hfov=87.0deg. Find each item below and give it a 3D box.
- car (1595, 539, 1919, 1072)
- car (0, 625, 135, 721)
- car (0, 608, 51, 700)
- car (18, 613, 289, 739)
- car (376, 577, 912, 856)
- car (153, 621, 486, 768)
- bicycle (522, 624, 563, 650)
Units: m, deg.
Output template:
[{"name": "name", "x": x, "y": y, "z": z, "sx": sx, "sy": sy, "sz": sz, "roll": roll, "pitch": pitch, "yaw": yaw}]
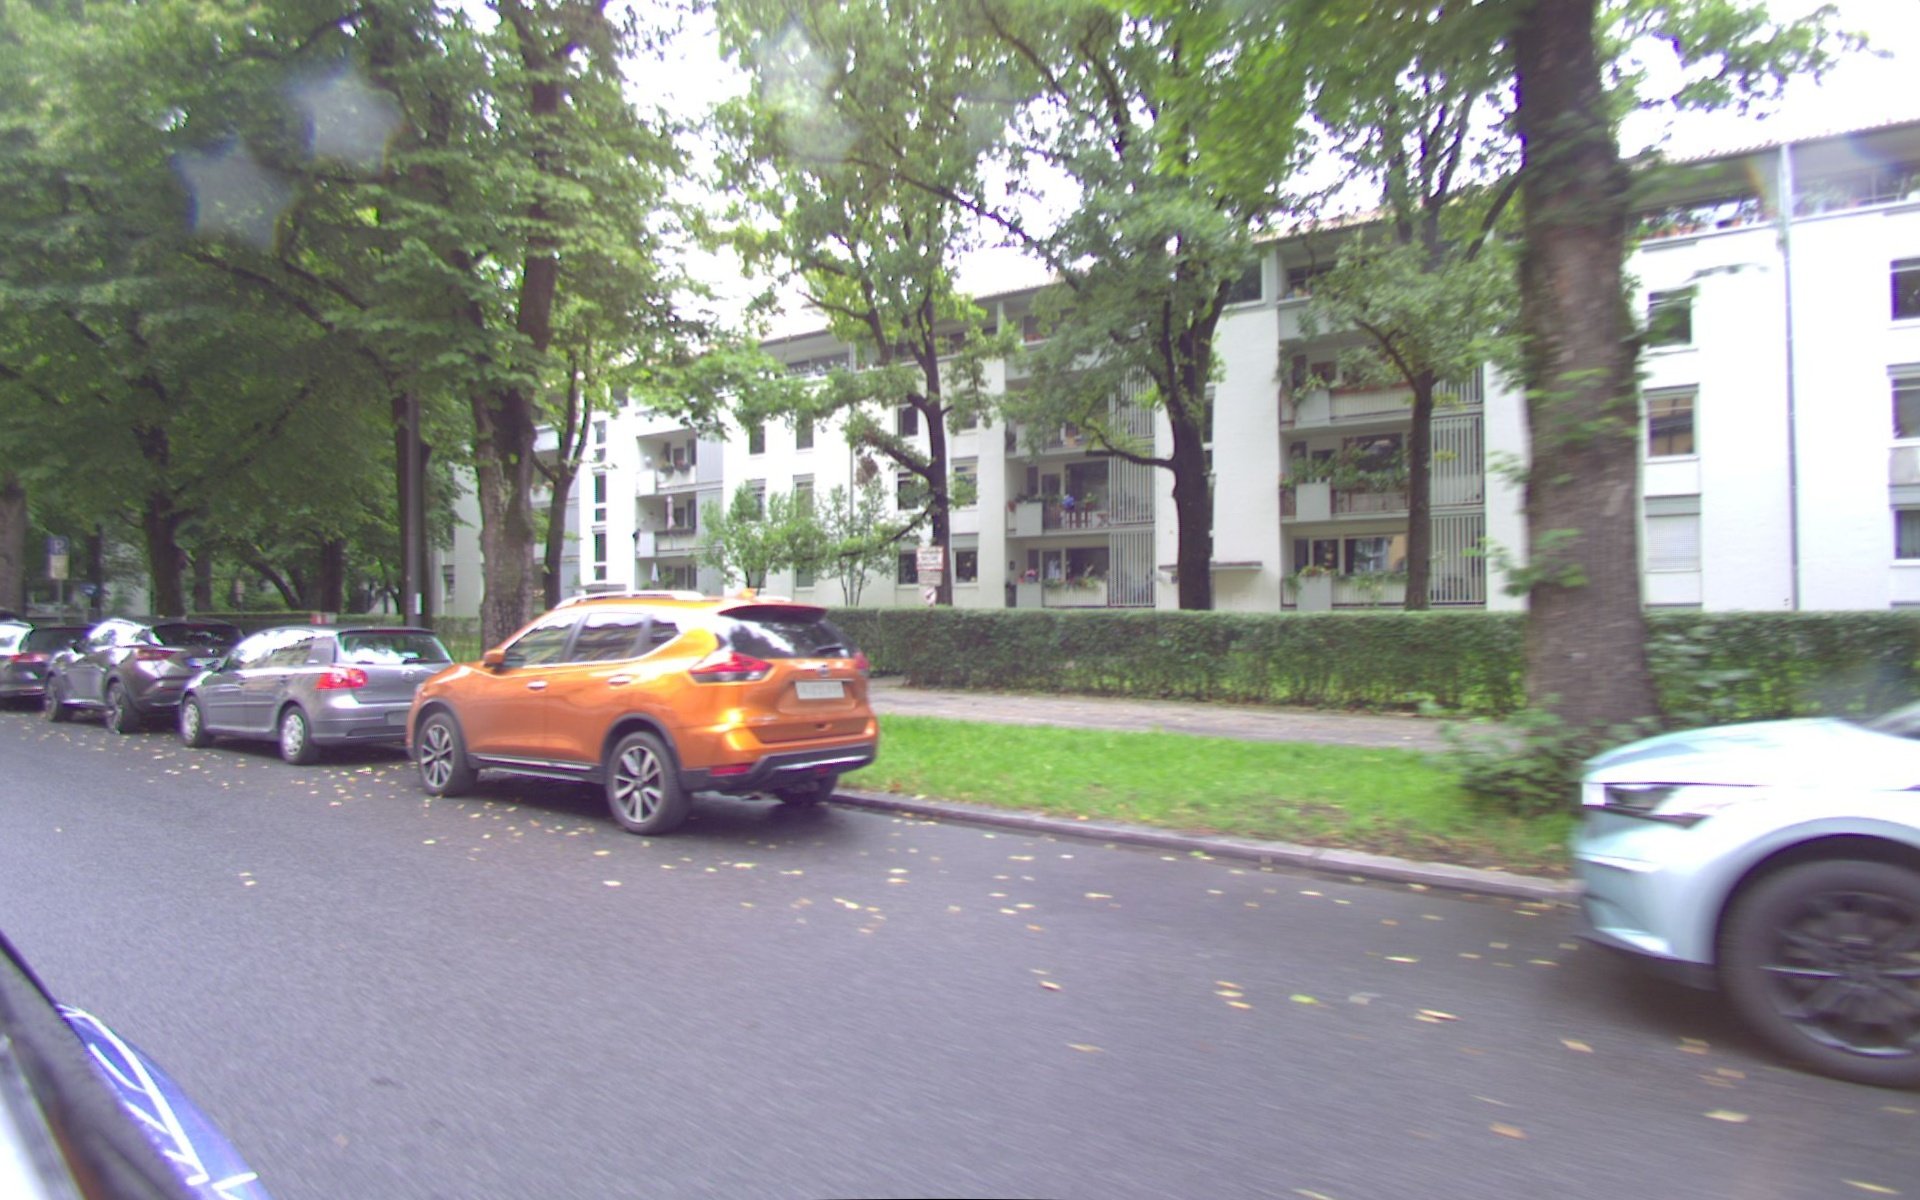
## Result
[{"name": "car", "x": 4.583, "y": 0.625, "z": 3.020, "sx": 4.502, "sy": 1.613, "sz": 1.800, "roll": -1, "pitch": -1, "yaw": 34}, {"name": "car", "x": -16.393, "y": 1.187, "z": 17.828, "sx": 4.685, "sy": 1.462, "sz": 1.704, "roll": -1, "pitch": -1, "yaw": 35}, {"name": "car", "x": -20.955, "y": 1.066, "z": 21.052, "sx": 4.909, "sy": 1.811, "sz": 1.976, "roll": -1, "pitch": -3, "yaw": 35}, {"name": "car", "x": -11.820, "y": 1.020, "z": 14.747, "sx": 4.473, "sy": 1.586, "sz": 1.771, "roll": -1, "pitch": -3, "yaw": 34}, {"name": "car", "x": -2.781, "y": 0.759, "z": 8.429, "sx": 4.631, "sy": 1.741, "sz": 1.856, "roll": -1, "pitch": -1, "yaw": 36}, {"name": "car", "x": -7.549, "y": 0.971, "z": 11.807, "sx": 4.239, "sy": 1.433, "sz": 1.713, "roll": -1, "pitch": -2, "yaw": 34}, {"name": "bicycle", "x": -18.157, "y": 1.612, "z": 44.017, "sx": 1.895, "sy": 1.116, "sz": 0.636, "roll": -1, "pitch": -1, "yaw": 30}]
